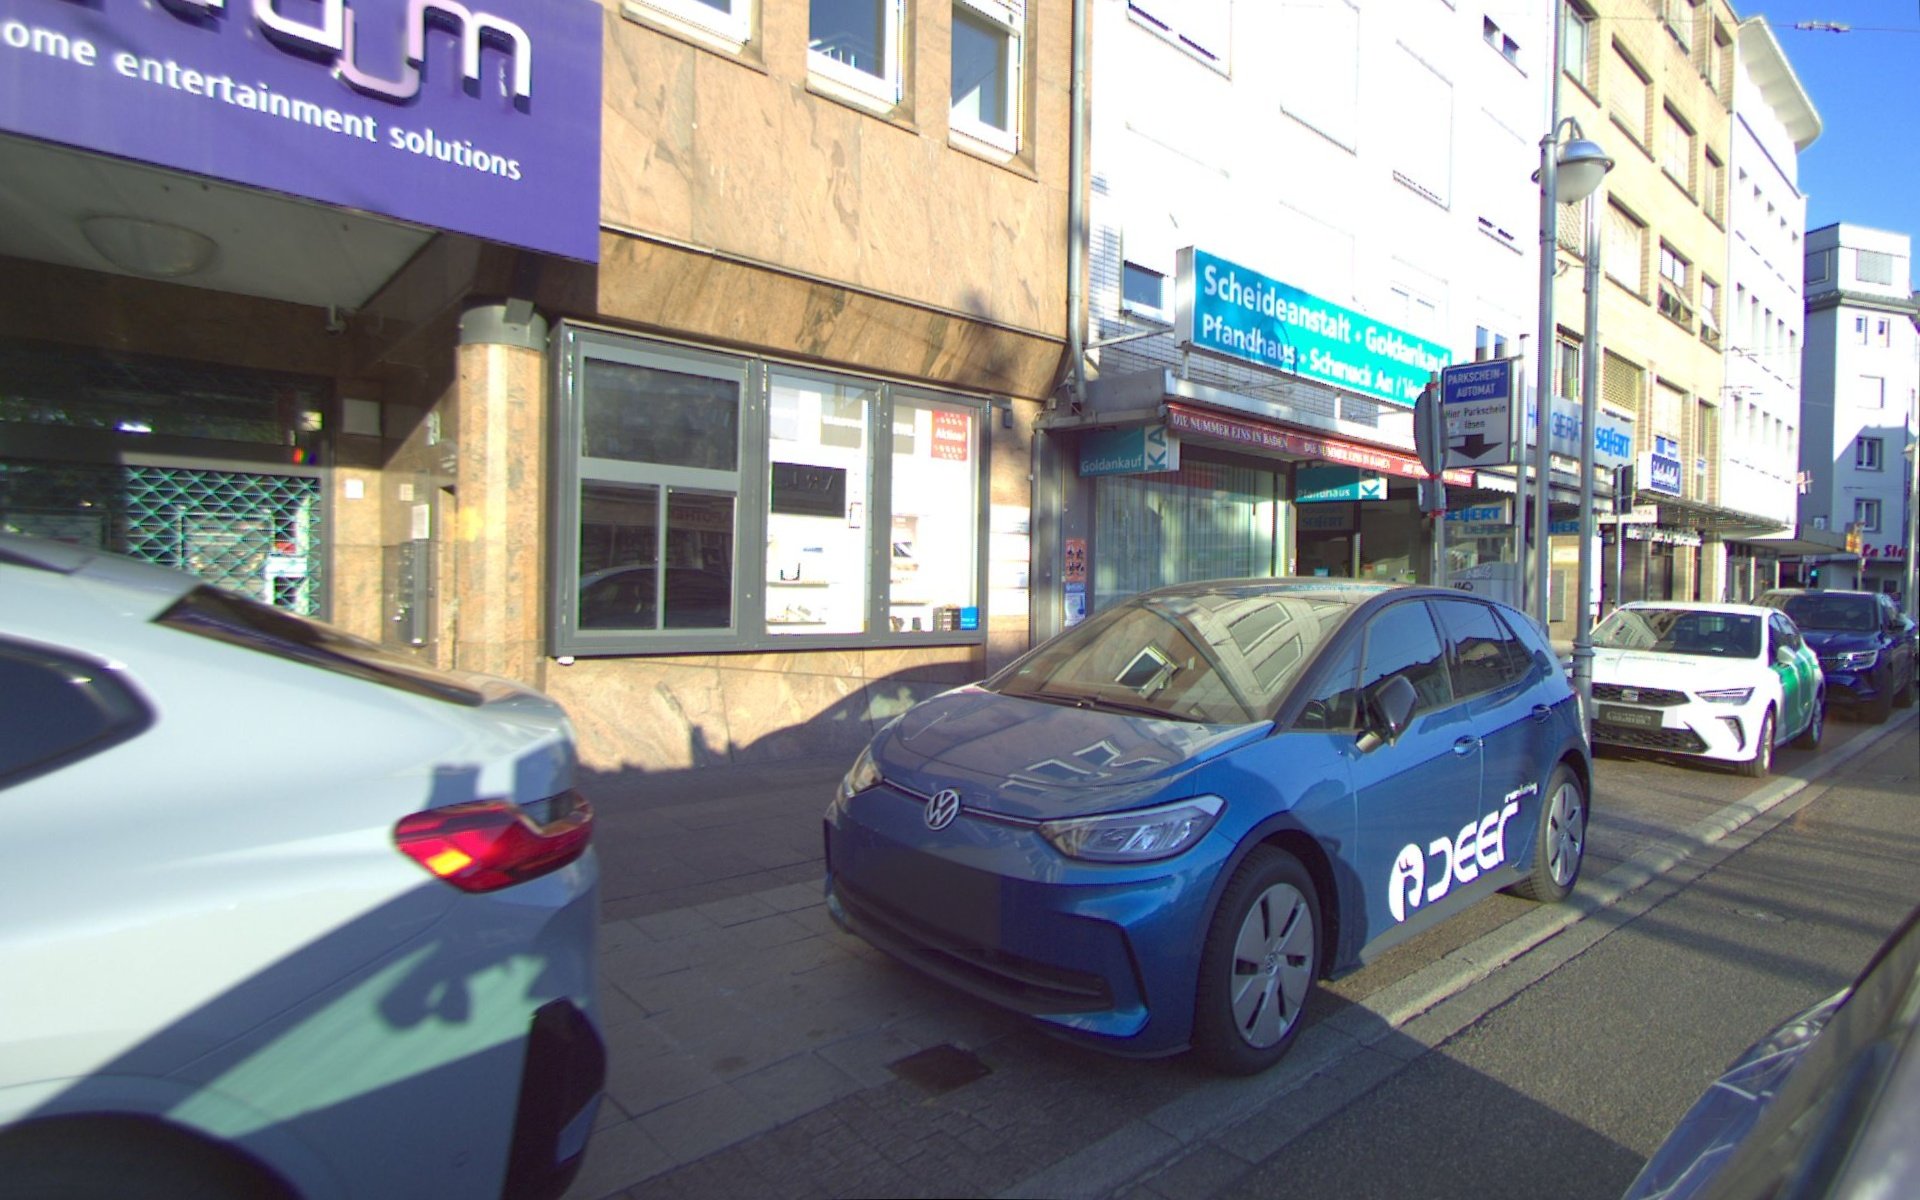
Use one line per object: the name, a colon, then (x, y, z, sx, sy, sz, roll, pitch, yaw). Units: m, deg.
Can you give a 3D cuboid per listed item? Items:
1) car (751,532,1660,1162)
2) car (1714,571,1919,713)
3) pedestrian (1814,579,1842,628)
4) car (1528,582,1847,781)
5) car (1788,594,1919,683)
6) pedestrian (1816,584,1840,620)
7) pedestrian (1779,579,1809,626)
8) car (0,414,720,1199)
car: (1.566, 0.583, 4.792, 4.753, 1.571, 1.812, 0, 1, -42)
car: (11.840, 0.458, 13.709, 4.213, 1.625, 1.768, 0, 1, -42)
pedestrian: (32.297, 0.109, 37.653, 0.747, 1.795, 0.578, 2, 1, 42)
car: (7.240, 0.603, 9.909, 4.082, 1.453, 1.733, -2, 3, -43)
car: (15.910, 0.582, 17.465, 3.990, 1.298, 1.678, -1, 2, -38)
pedestrian: (41.358, 0.108, 48.239, 0.577, 1.676, 0.798, 0, 1, -44)
pedestrian: (31.793, 0.091, 38.567, 0.627, 1.795, 0.749, 0, 1, -38)
car: (-2.798, 0.558, 1.072, 4.639, 1.605, 1.820, 0, 1, -40)
